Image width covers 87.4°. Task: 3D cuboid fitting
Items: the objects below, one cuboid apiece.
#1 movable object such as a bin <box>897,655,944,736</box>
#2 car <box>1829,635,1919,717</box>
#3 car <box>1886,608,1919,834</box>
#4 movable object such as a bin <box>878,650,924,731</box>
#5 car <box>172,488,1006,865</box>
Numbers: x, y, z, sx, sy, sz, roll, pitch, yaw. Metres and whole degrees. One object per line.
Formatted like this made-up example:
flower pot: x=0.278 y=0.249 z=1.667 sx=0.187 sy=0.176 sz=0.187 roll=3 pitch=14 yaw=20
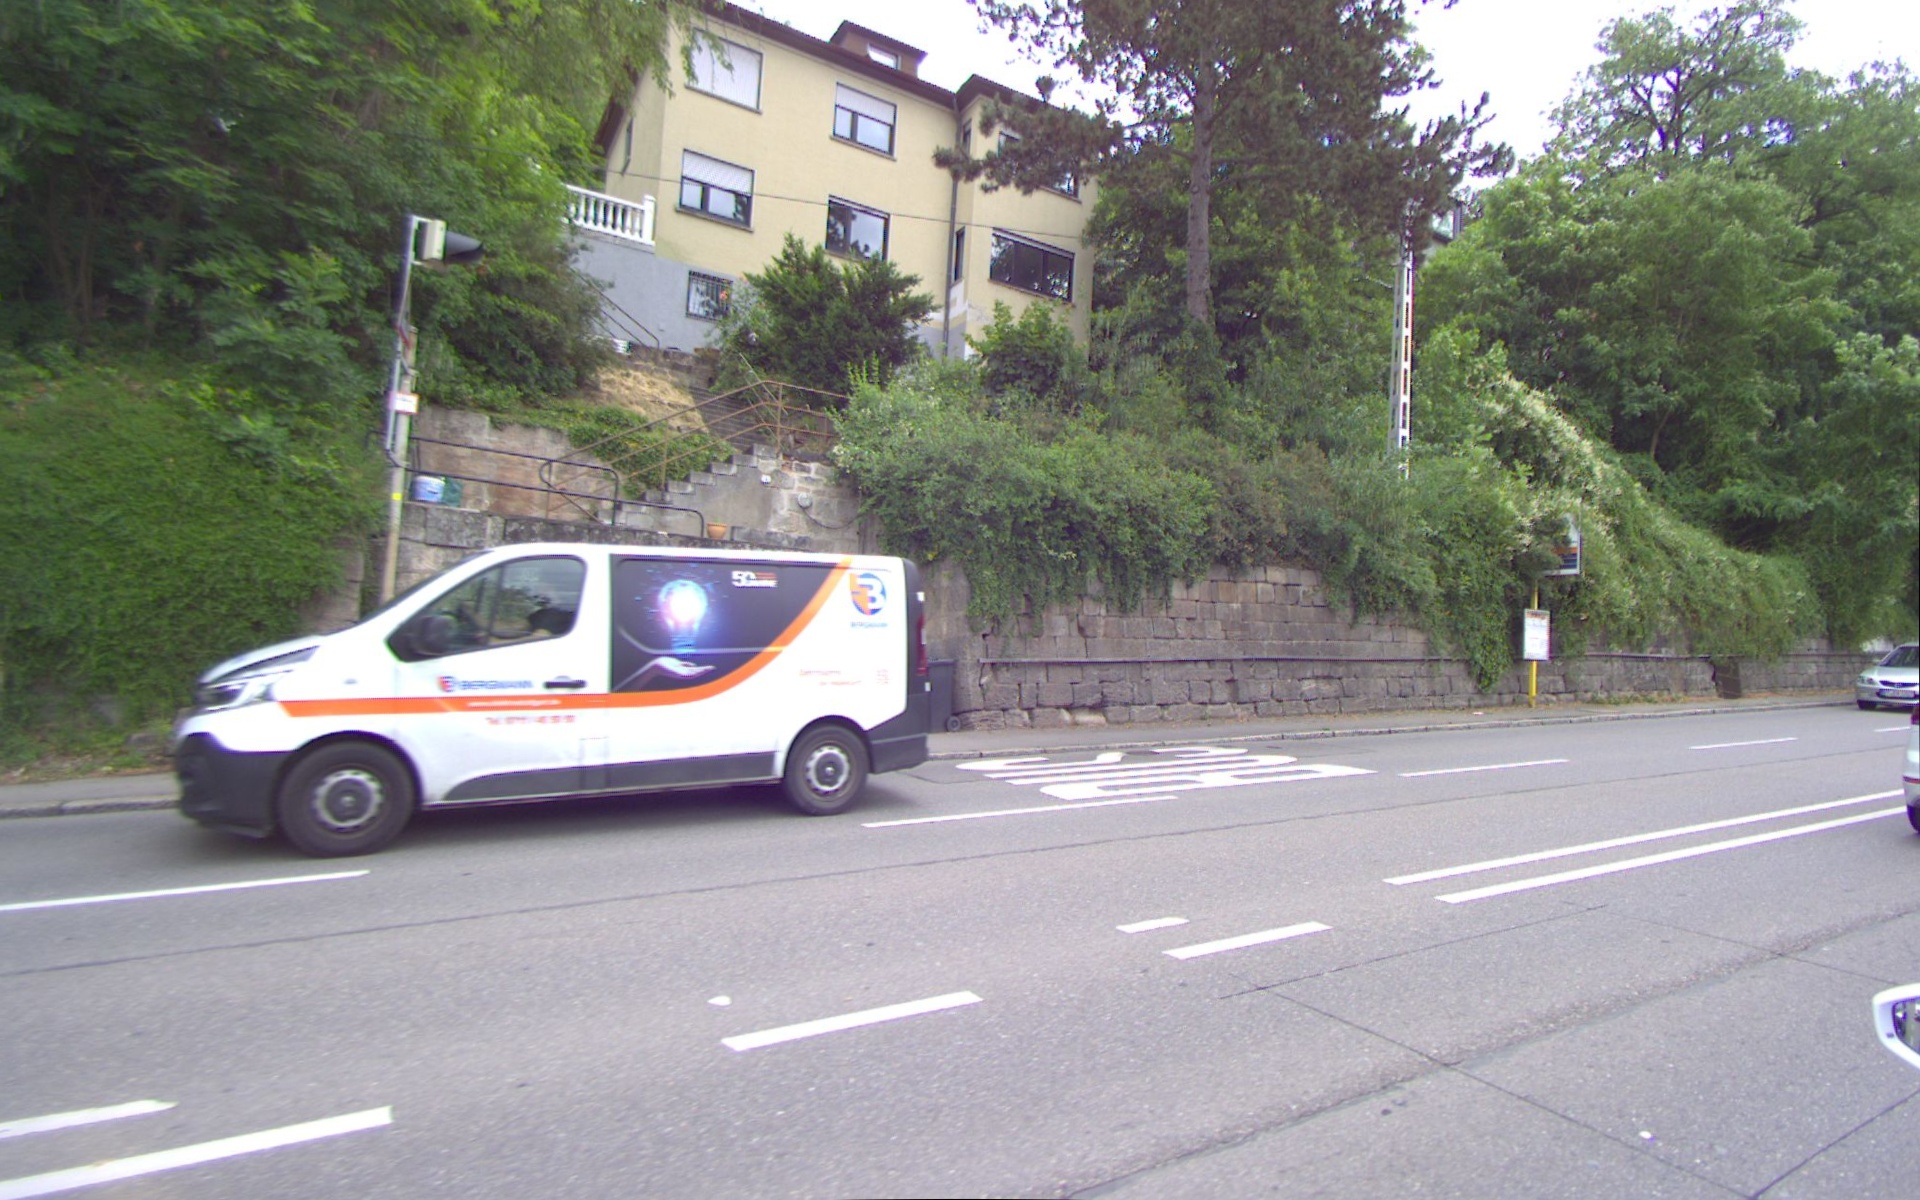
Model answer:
movable object such as a bin: x=-0.488 y=1.164 z=12.386 sx=0.362 sy=0.948 sz=0.476 roll=2 pitch=0 yaw=-34
car: x=19.890 y=1.505 z=20.700 sx=4.181 sy=1.461 sz=1.669 roll=0 pitch=1 yaw=-29
car: x=8.853 y=0.900 z=7.527 sx=4.226 sy=1.575 sz=1.711 roll=2 pitch=-1 yaw=-31
movable object such as a bin: x=-0.756 y=1.144 z=12.813 sx=0.364 sy=0.984 sz=0.474 roll=2 pitch=0 yaw=-34
car: x=-2.400 y=0.498 z=7.591 sx=5.292 sy=2.031 sz=1.912 roll=2 pitch=-1 yaw=-30
